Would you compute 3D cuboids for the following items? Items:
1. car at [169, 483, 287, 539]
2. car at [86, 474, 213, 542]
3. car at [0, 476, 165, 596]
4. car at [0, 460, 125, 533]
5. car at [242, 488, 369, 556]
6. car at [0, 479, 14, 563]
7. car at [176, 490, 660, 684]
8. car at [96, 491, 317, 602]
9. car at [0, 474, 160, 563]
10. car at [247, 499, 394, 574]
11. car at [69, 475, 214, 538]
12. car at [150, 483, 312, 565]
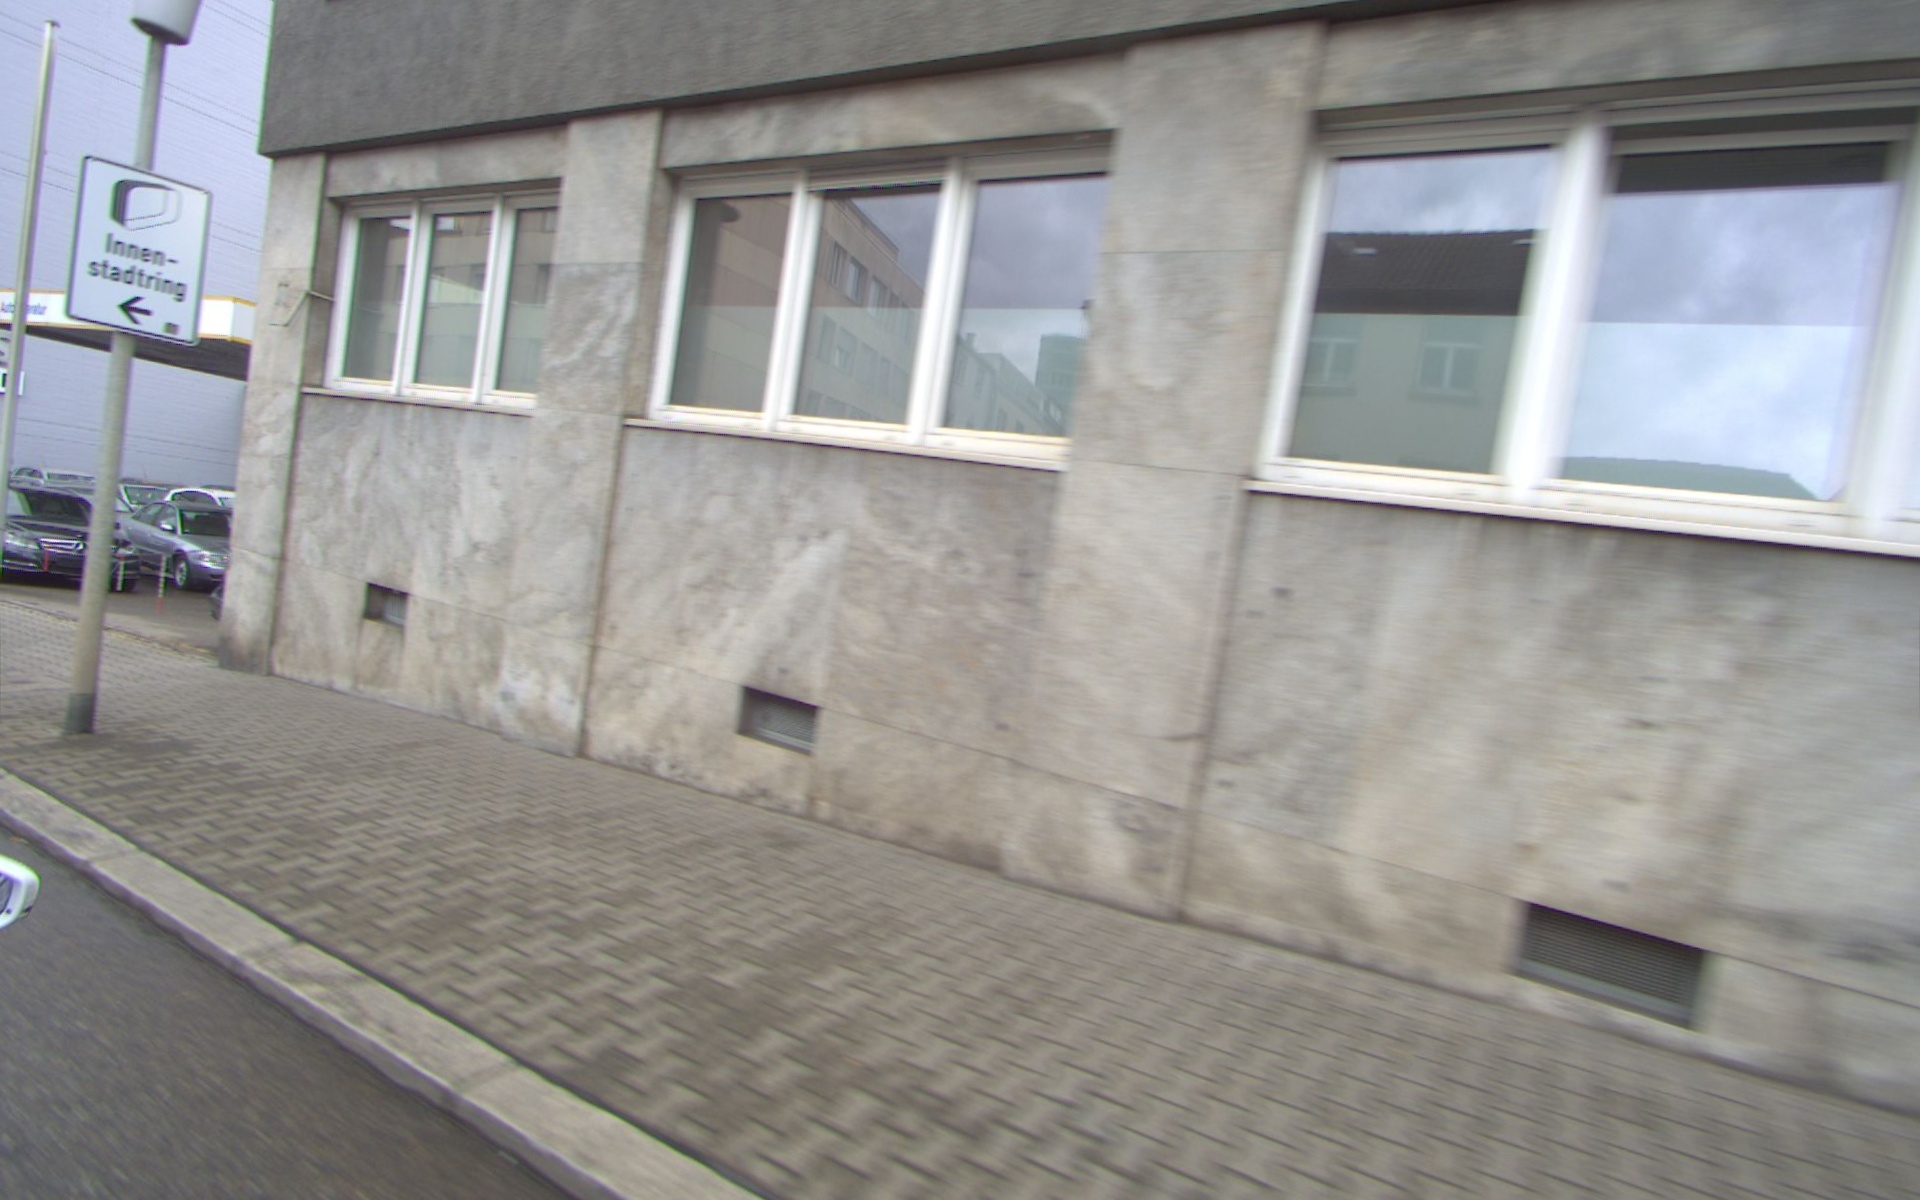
[{"bbox_3d":[-22.977,-2.789,31.563,3.293,1.370,1.456,6,-1,24],"label":"car"},{"bbox_3d":[-23.823,-2.711,29.561,3.331,1.616,1.454,6,-1,24],"label":"car"},{"bbox_3d":[-14.510,-1.102,15.663,4.410,1.495,1.800,7,-1,31],"label":"car"},{"bbox_3d":[-25.125,-2.877,27.720,3.797,1.616,1.649,6,-1,24],"label":"car"},{"bbox_3d":[-19.254,-2.303,29.581,3.331,1.616,1.454,6,-1,24],"label":"car"},{"bbox_3d":[-19.269,-1.684,18.458,4.000,1.495,1.569,7,0,29],"label":"car"},{"bbox_3d":[-5.968,-0.017,11.688,1.857,1.529,4.498,7,-3,33],"label":"car"},{"bbox_3d":[-13.655,-0.991,18.151,4.414,1.495,1.798,7,0,35],"label":"car"},{"bbox_3d":[-18.470,-1.725,21.088,3.336,1.530,1.529,5,-1,32],"label":"car"},{"bbox_3d":[-16.223,-1.620,25.521,3.458,1.530,1.454,6,-1,26],"label":"car"},{"bbox_3d":[-20.843,-2.388,25.618,3.331,1.216,1.454,6,-1,24],"label":"car"},{"bbox_3d":[-17.288,-1.801,23.846,3.458,1.530,1.556,6,-1,26],"label":"car"}]
